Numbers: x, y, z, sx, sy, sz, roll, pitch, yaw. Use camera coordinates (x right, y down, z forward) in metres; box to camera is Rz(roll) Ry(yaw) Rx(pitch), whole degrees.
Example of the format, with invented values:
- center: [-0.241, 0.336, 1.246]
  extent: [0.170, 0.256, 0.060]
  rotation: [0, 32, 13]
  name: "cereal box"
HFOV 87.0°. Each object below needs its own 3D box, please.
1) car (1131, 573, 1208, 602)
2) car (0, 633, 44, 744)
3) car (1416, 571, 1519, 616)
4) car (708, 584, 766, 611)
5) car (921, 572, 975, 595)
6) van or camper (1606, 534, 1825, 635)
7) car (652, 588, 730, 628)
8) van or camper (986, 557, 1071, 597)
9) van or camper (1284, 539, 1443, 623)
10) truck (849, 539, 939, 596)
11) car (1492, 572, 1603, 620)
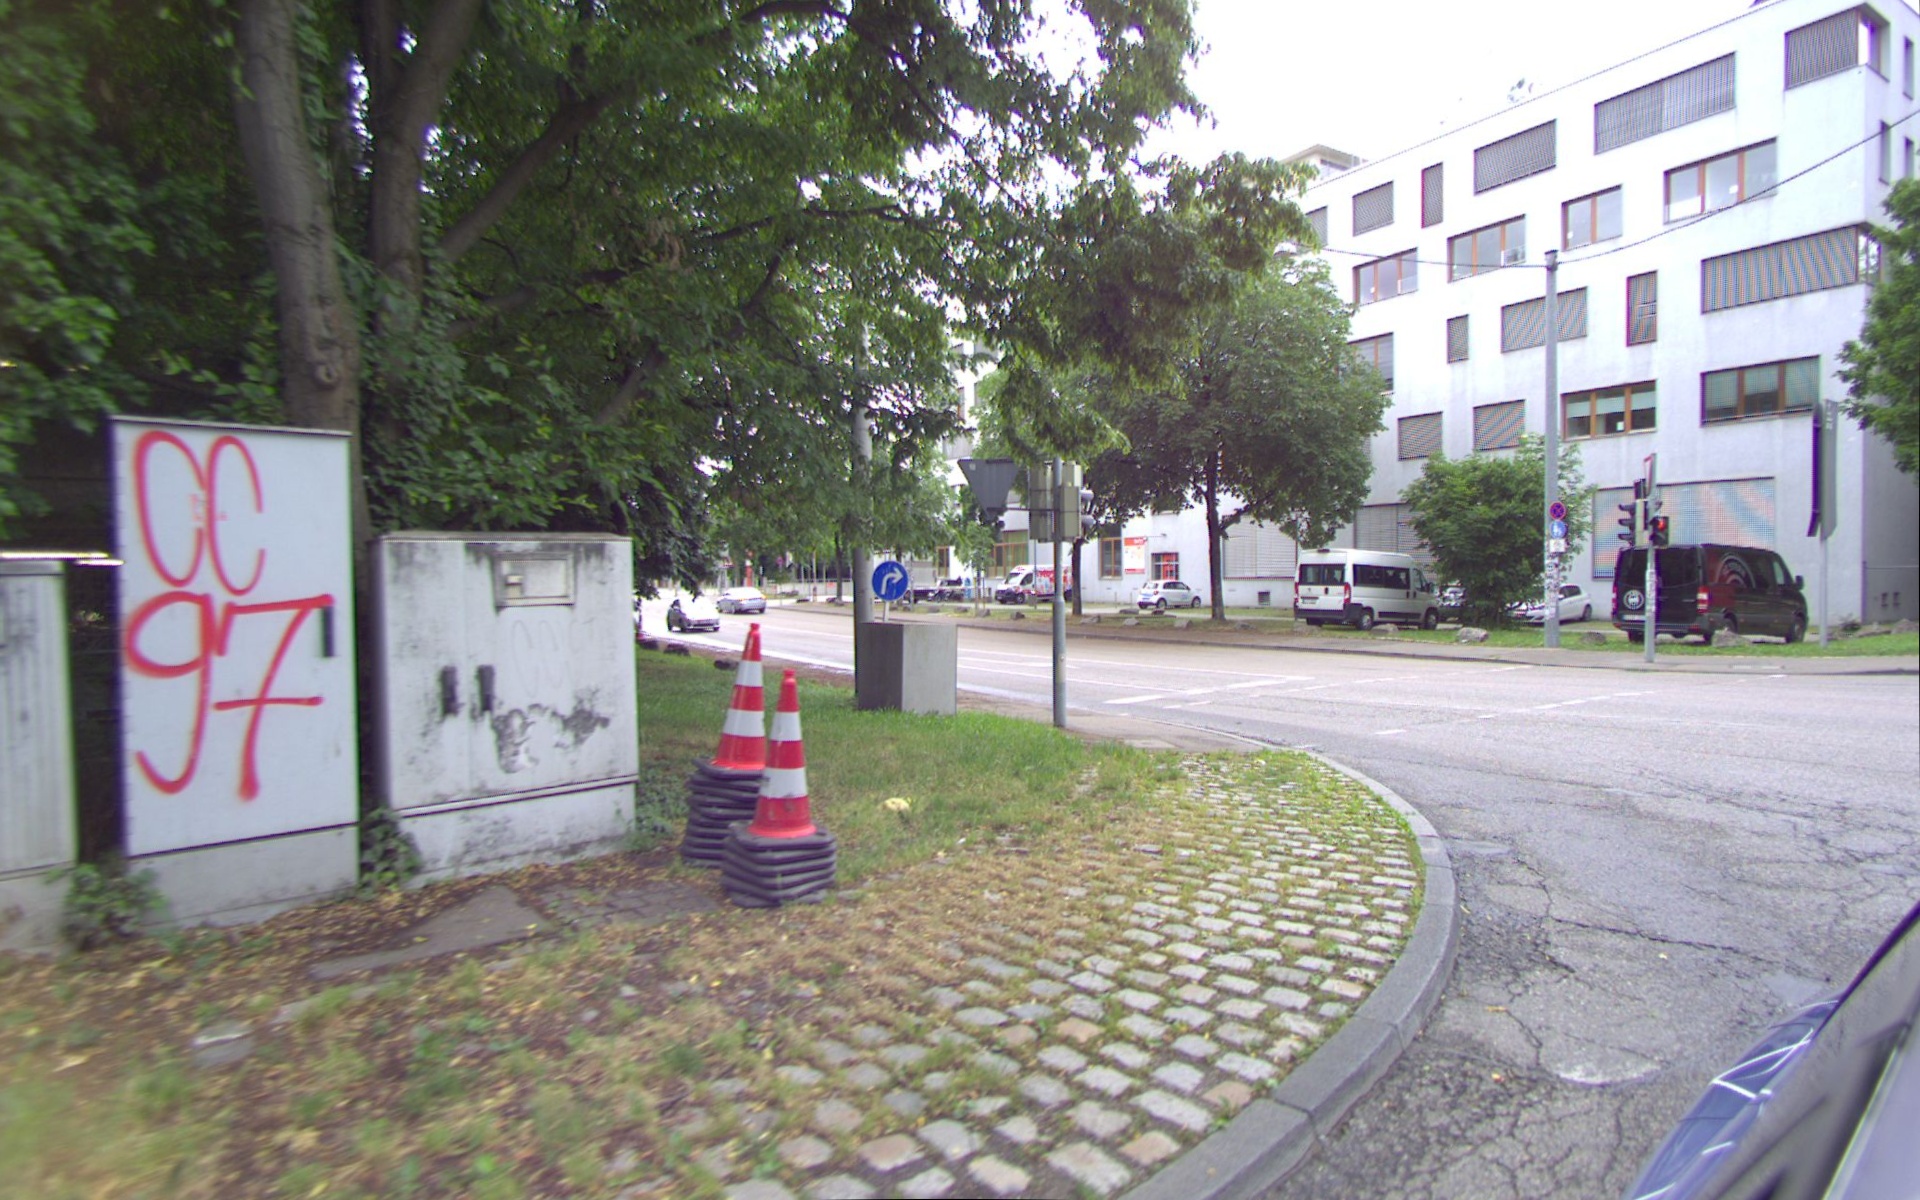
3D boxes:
- center: [11.351, -0.699, 54.757]
  extent: [3.933, 1.436, 1.716]
  rotation: [-2, 2, -30]
  name: "car"
- center: [-11.095, 1.012, 10.448]
  extent: [1.589, 1.176, 3.645]
  rotation: [-1, 1, -28]
  name: "car"
- center: [19.944, -0.281, 39.750]
  extent: [4.004, 1.548, 1.845]
  rotation: [-3, 2, -33]
  name: "car"
- center: [-12.573, -0.151, 56.968]
  extent: [1.670, 1.415, 4.370]
  rotation: [-1, 0, -34]
  name: "car"
- center: [-0.868, -1.215, 74.728]
  extent: [3.627, 1.668, 1.657]
  rotation: [-1, 1, -28]
  name: "car"
- center: [17.804, -0.303, 23.792]
  extent: [5.531, 2.137, 2.172]
  rotation: [1, -1, -31]
  name: "van or camper"
- center: [-11.604, 0.310, 43.444]
  extent: [1.821, 1.497, 4.511]
  rotation: [-2, 3, -34]
  name: "car"
- center: [4.450, -1.518, 65.516]
  extent: [5.167, 2.456, 2.259]
  rotation: [-2, 2, -32]
  name: "van or camper"
- center: [12.792, -0.590, 31.997]
  extent: [5.085, 2.454, 2.158]
  rotation: [0, 0, -33]
  name: "van or camper"
- center: [-4.637, -2.134, 69.167]
  extent: [2.598, 3.662, 7.843]
  rotation: [1, 0, -33]
  name: "truck"
- center: [21.711, -0.178, 37.379]
  extent: [3.998, 1.477, 1.859]
  rotation: [-4, 2, -32]
  name: "car"
